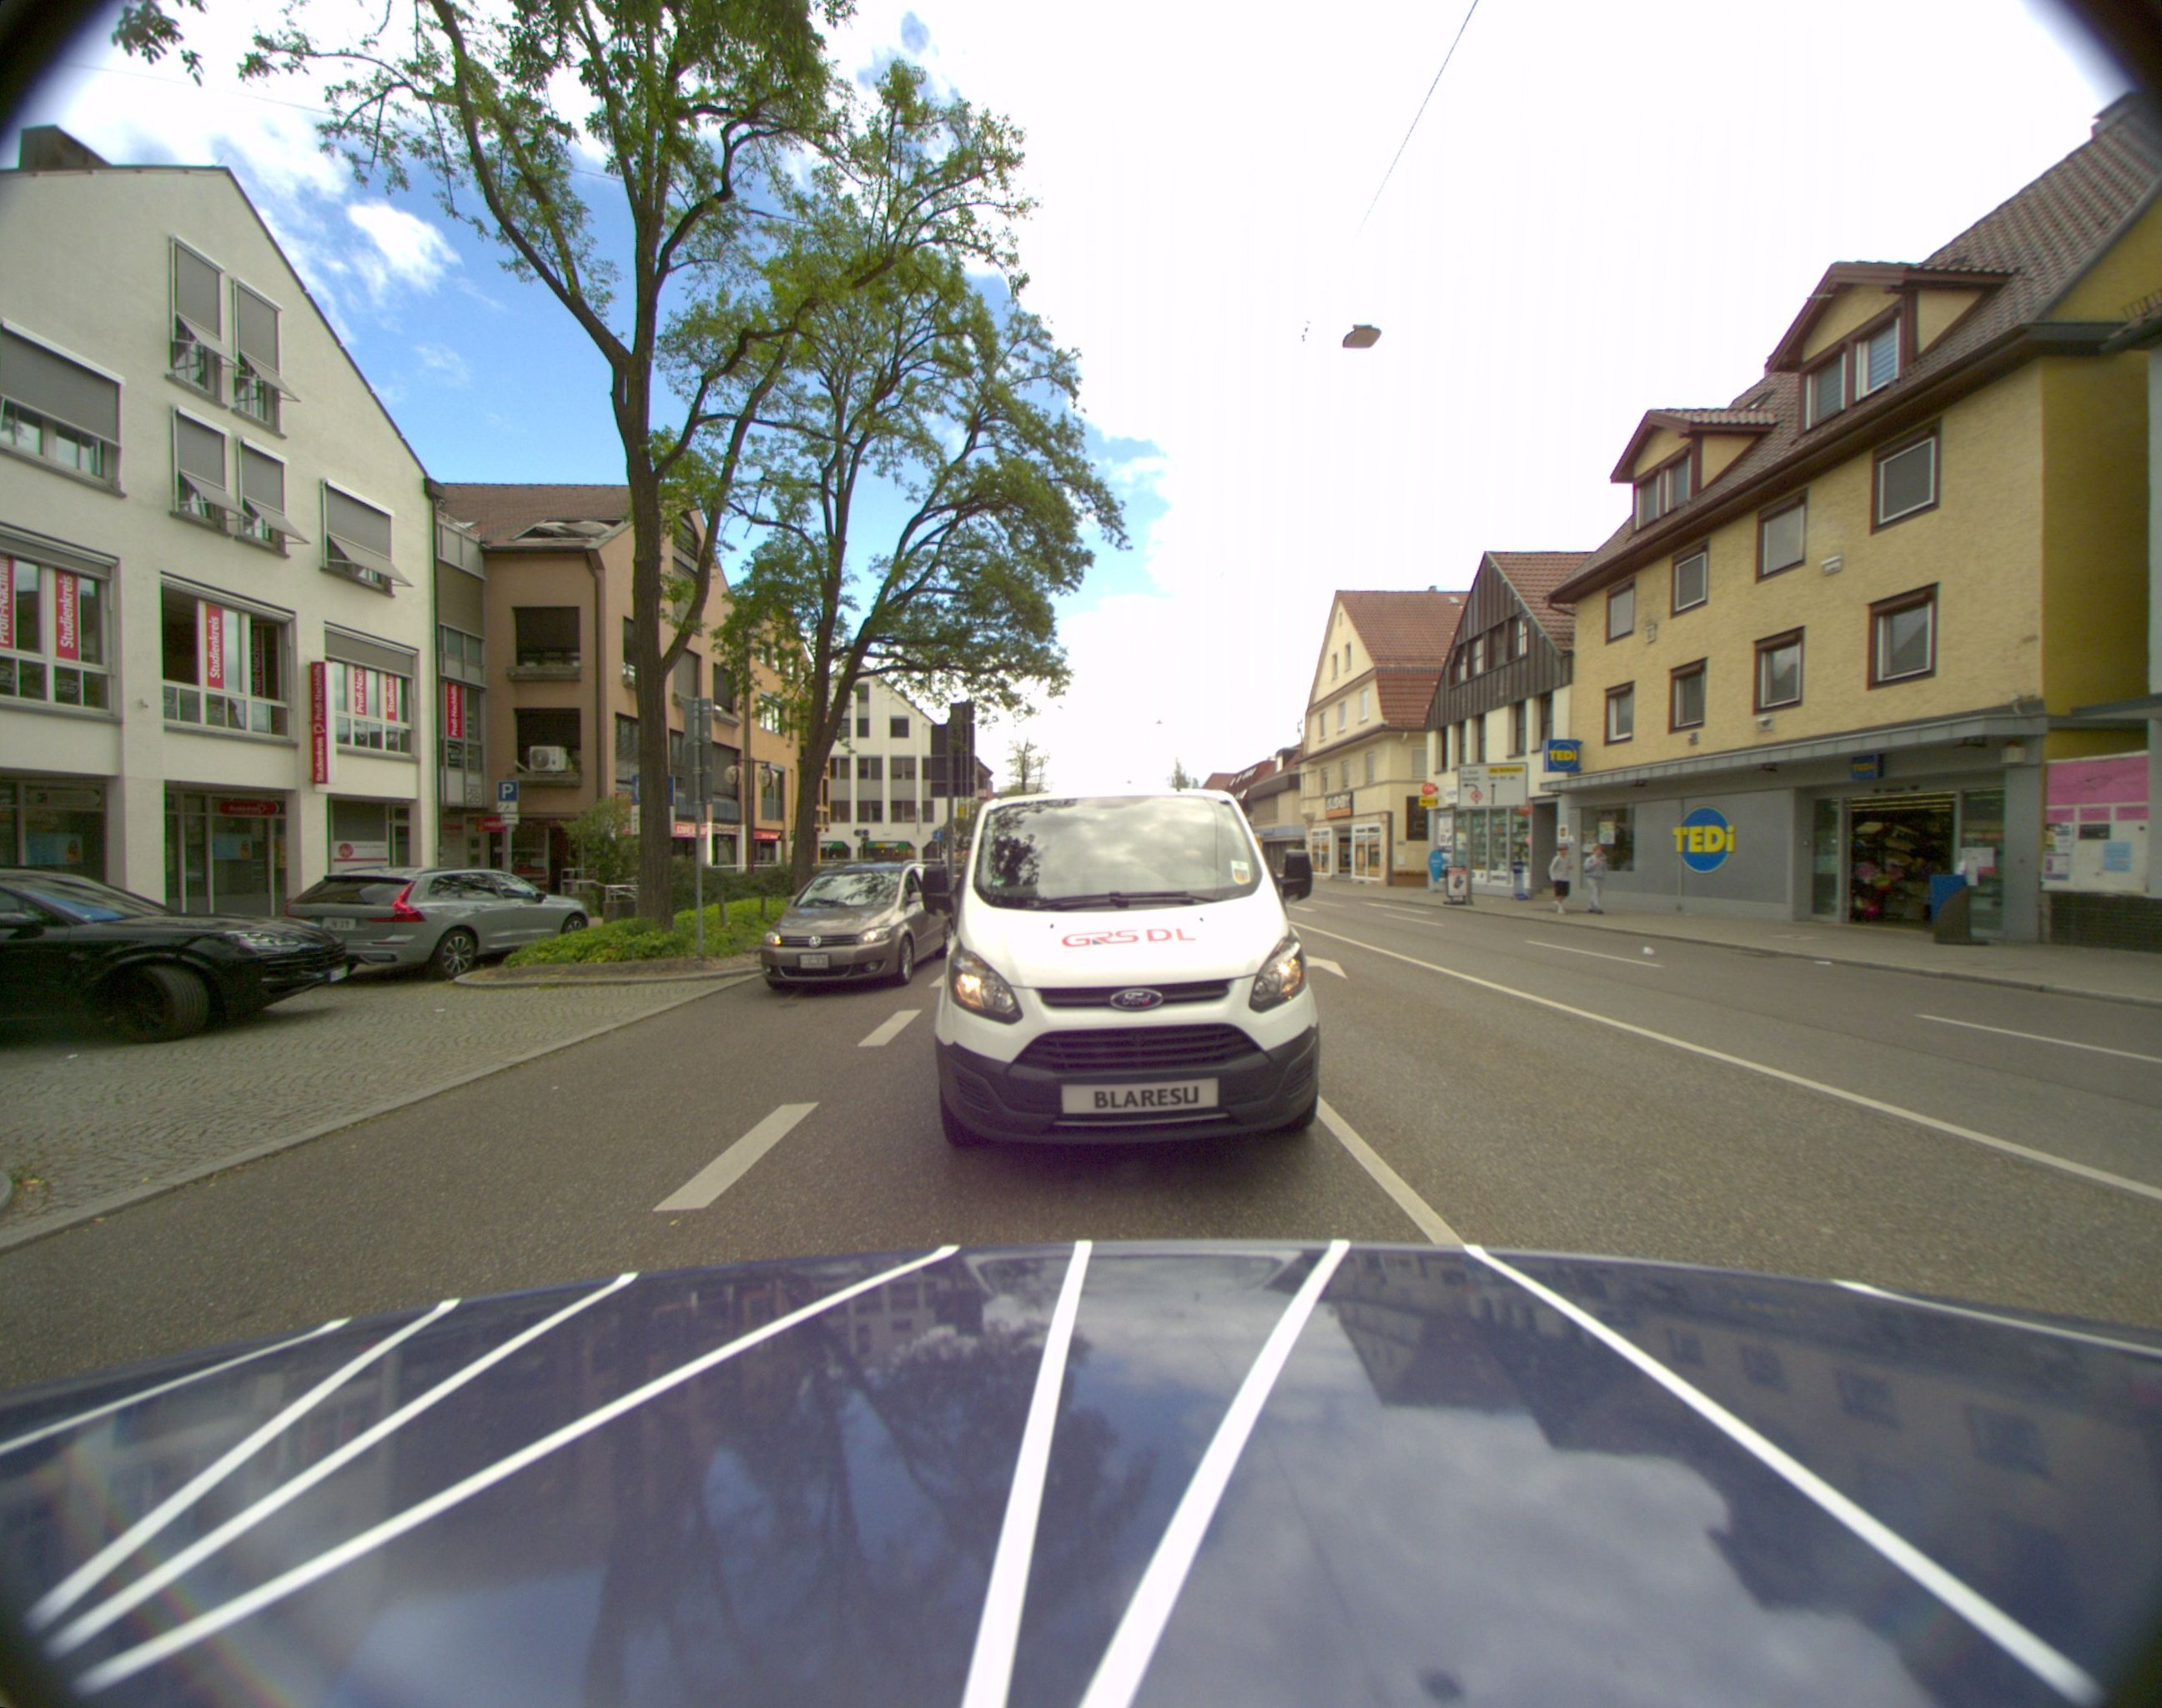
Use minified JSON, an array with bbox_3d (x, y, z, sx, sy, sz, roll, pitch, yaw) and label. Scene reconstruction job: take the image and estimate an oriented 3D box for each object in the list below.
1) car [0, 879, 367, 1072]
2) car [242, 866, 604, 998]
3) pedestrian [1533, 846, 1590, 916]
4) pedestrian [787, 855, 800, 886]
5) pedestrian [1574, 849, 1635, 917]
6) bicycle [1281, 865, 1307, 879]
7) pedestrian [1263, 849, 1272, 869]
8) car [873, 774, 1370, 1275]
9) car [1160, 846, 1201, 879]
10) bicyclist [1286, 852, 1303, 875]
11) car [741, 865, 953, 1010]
[{"bbox_3d":[-10.494,1.108,7.427,4.762,1.669,1.995,1,-1,-30],"label":"car"},{"bbox_3d":[-10.327,1.100,12.593,1.999,1.645,4.752,1,1,-3],"label":"car"},{"bbox_3d":[11.601,0.639,18.380,0.812,1.651,0.920,-1,1,1],"label":"pedestrian"},{"bbox_3d":[-15.421,0.874,40.736,0.505,1.615,0.493,-1,1,-45],"label":"pedestrian"},{"bbox_3d":[12.441,0.675,18.081,0.812,1.574,0.920,-1,1,1],"label":"pedestrian"},{"bbox_3d":[13.293,1.103,47.365,0.771,0.818,2.245,0,0,39],"label":"bicycle"},{"bbox_3d":[17.120,0.455,69.687,0.673,1.891,0.678,0,1,1],"label":"pedestrian"},{"bbox_3d":[0.206,0.695,5.979,1.940,1.968,5.780,-2,0,1],"label":"car"},{"bbox_3d":[6.127,0.478,47.246,1.909,1.931,4.526,-1,0,0],"label":"car"},{"bbox_3d":[13.297,0.580,47.362,0.771,1.415,0.753,0,1,39],"label":"bicyclist"},{"bbox_3d":[-2.994,0.973,10.645,1.802,1.521,3.999,-2,0,-2],"label":"car"}]
